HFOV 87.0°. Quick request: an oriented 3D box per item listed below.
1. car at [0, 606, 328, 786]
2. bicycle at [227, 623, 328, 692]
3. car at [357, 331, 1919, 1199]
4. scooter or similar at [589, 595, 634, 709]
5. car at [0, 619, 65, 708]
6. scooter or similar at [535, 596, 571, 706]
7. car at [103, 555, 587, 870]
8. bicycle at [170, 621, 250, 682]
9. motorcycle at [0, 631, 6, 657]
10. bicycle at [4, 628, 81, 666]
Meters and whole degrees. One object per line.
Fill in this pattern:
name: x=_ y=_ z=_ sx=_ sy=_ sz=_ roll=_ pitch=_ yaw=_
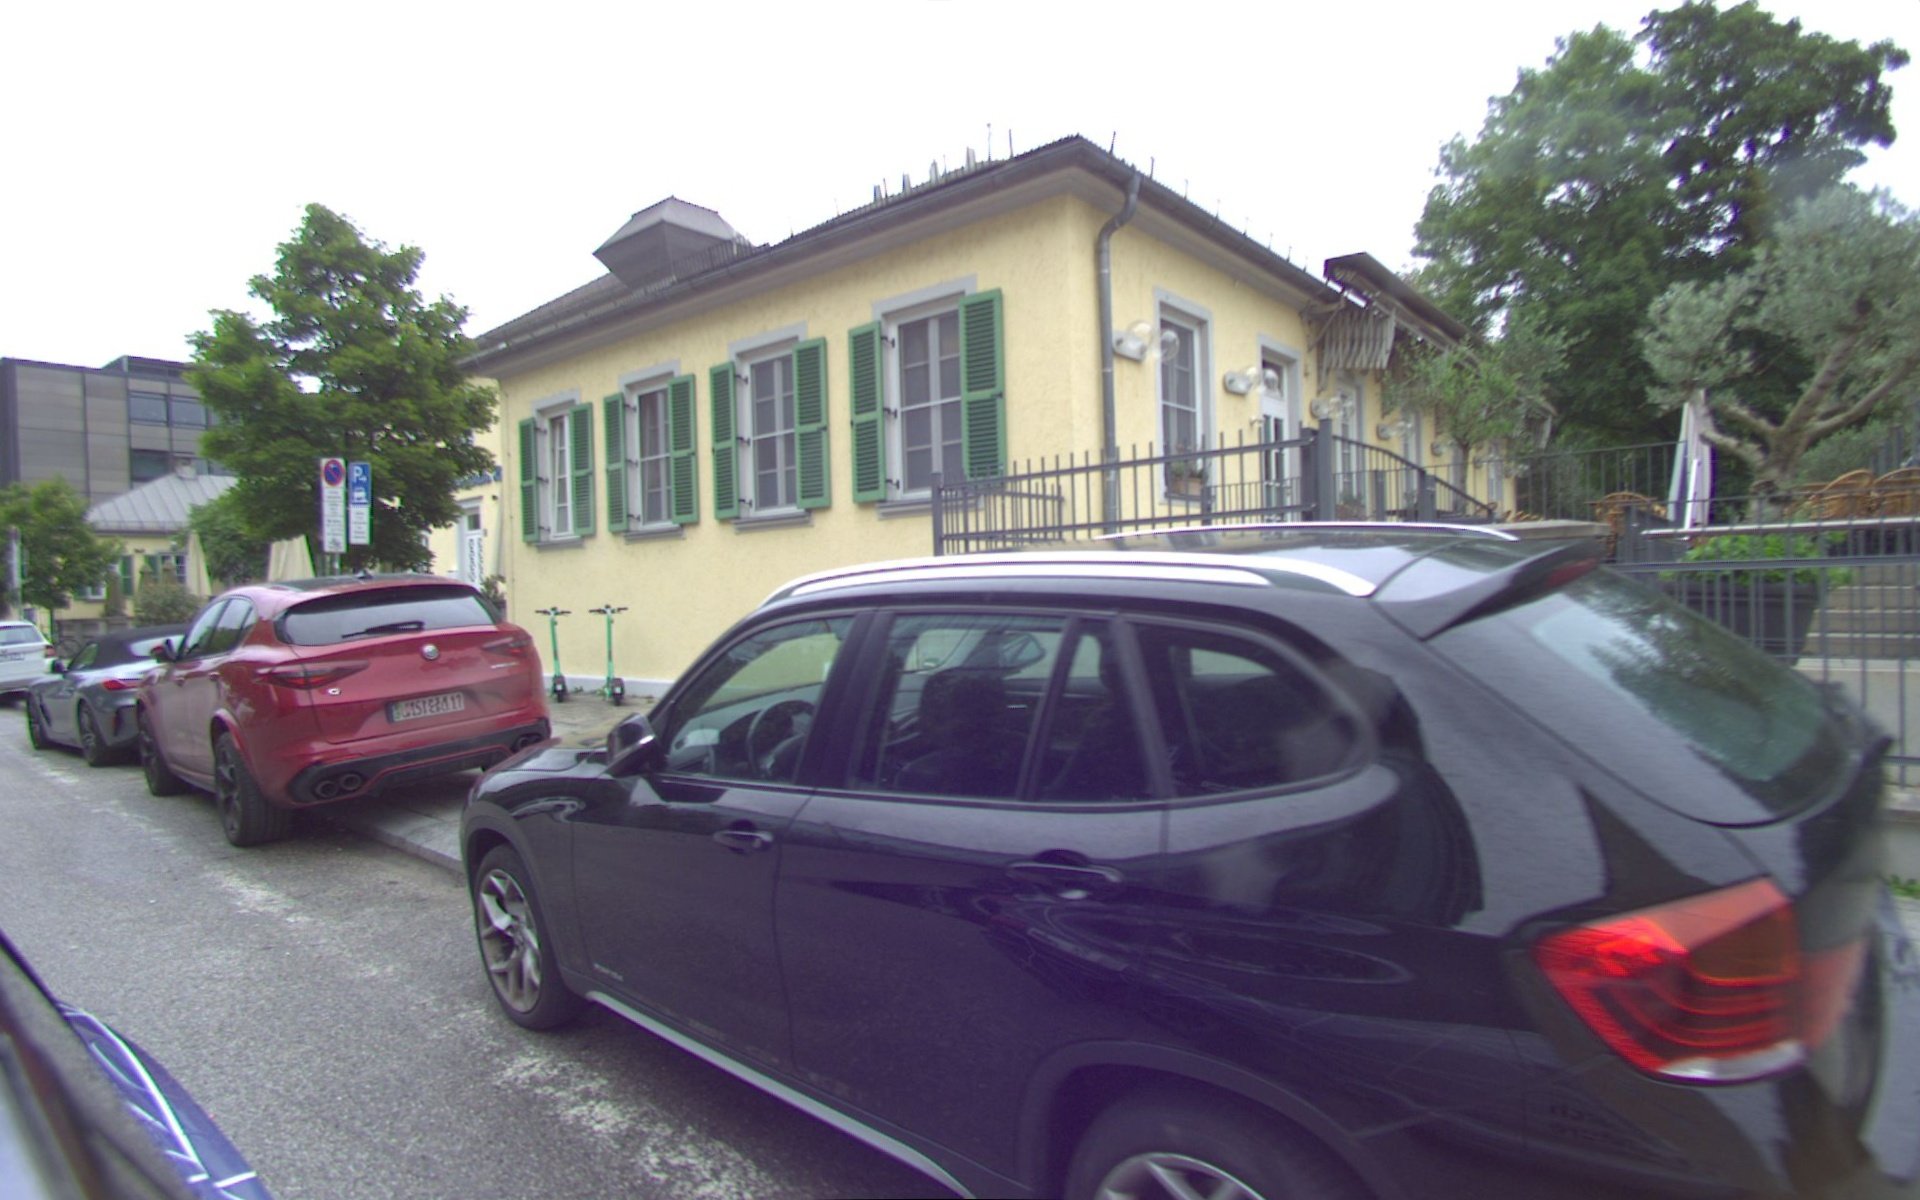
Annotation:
car: x=-9.105 y=0.938 z=11.399 sx=4.649 sy=1.530 sz=1.878 roll=-2 pitch=2 yaw=39
bicycle: x=-12.027 y=0.988 z=17.897 sx=0.629 sy=1.096 sz=1.633 roll=-3 pitch=0 yaw=1
car: x=-0.022 y=0.555 z=3.105 sx=4.742 sy=1.619 sz=1.826 roll=-2 pitch=2 yaw=43
scooter or similar: x=-4.299 y=0.617 z=12.455 sx=0.358 sy=1.324 sz=1.257 roll=-2 pitch=0 yaw=-25
car: x=-18.600 y=1.199 z=19.258 sx=4.458 sy=1.503 sz=1.707 roll=-2 pitch=2 yaw=41
scooter or similar: x=-5.325 y=0.639 z=13.227 sx=0.370 sy=1.353 sz=1.357 roll=-2 pitch=0 yaw=-23
car: x=-5.014 y=0.642 z=7.899 sx=4.807 sy=1.704 sz=1.882 roll=-2 pitch=2 yaw=42
bicycle: x=-16.720 y=1.129 z=22.597 sx=0.563 sy=1.271 sz=1.568 roll=-2 pitch=0 yaw=1
motorcycle: x=-42.207 y=1.975 z=43.494 sx=1.641 sy=1.120 sz=0.591 roll=-4 pitch=3 yaw=-9
bicycle: x=-31.530 y=1.599 z=34.791 sx=0.466 sy=1.041 sz=1.825 roll=-2 pitch=5 yaw=39
